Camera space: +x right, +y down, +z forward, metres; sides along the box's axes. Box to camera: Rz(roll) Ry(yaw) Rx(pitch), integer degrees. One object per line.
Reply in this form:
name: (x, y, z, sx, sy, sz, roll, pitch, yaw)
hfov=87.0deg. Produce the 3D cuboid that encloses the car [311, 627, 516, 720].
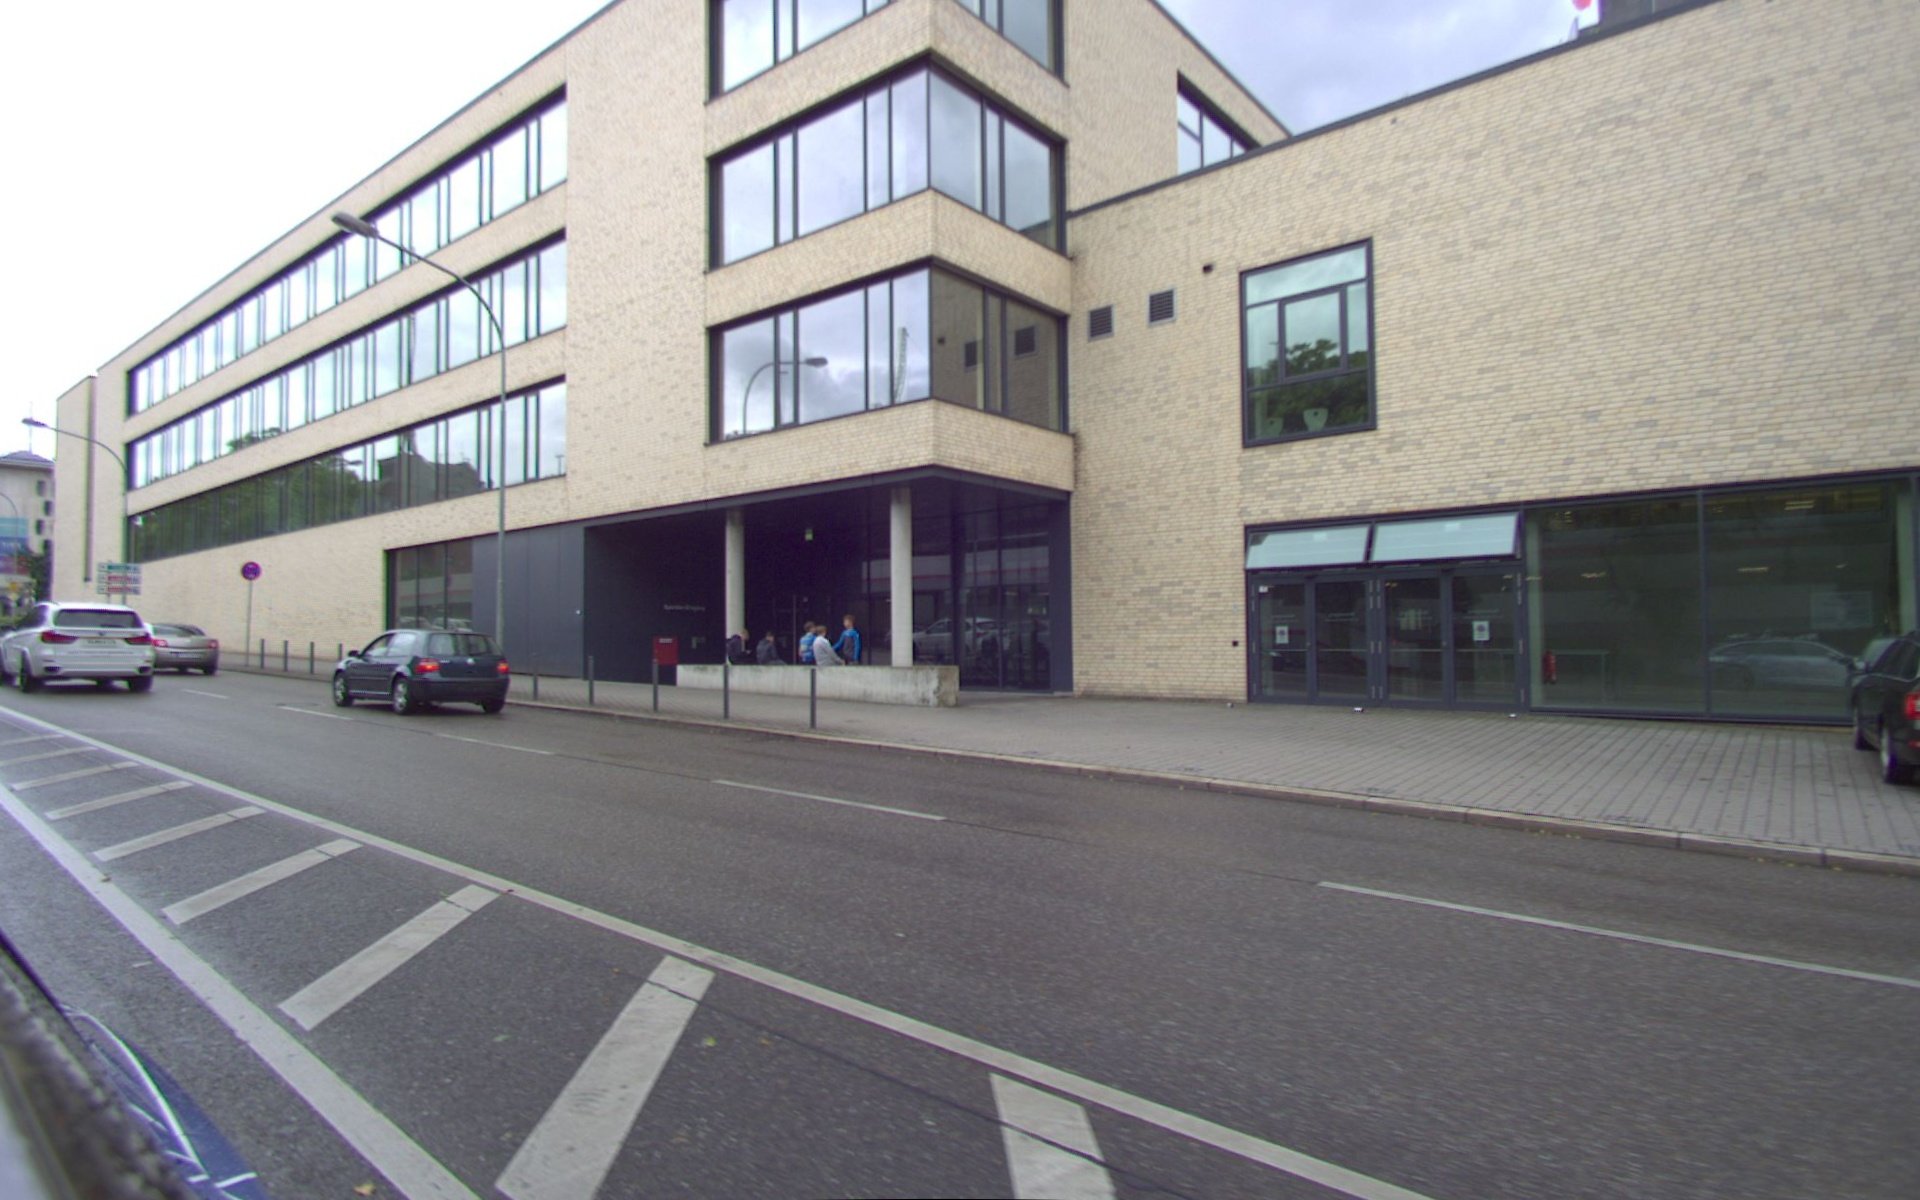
car: (-9.667, 1.237, 17.796, 3.966, 1.423, 1.728, -1, -4, 39)

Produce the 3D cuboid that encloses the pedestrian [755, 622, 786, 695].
pedestrian: (-3.964, 1.220, 21.205, 0.462, 1.486, 0.445, 0, 0, 36)

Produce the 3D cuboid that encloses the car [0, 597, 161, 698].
car: (-18.052, 0.931, 20.477, 4.568, 1.825, 1.873, -1, -4, 38)

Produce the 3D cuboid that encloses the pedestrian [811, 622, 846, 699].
pedestrian: (-2.587, 1.184, 19.985, 0.527, 1.486, 0.437, 0, 0, 36)

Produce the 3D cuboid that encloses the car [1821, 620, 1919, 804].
car: (10.231, 1.017, 10.131, 1.995, 1.506, 4.141, 0, 0, 34)

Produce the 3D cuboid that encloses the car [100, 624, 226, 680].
car: (-22.073, 1.418, 27.981, 4.225, 1.399, 1.811, -1, -4, 39)

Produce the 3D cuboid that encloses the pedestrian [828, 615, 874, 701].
pedestrian: (-2.261, 1.191, 21.023, 0.704, 1.727, 0.628, 0, 0, 40)

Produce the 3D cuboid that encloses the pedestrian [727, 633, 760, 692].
pedestrian: (-4.648, 1.342, 21.763, 0.422, 1.224, 0.542, 0, 0, 43)

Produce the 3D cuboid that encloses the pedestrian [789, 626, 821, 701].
pedestrian: (-3.139, 1.278, 20.549, 0.462, 1.486, 0.445, 0, 0, 36)
